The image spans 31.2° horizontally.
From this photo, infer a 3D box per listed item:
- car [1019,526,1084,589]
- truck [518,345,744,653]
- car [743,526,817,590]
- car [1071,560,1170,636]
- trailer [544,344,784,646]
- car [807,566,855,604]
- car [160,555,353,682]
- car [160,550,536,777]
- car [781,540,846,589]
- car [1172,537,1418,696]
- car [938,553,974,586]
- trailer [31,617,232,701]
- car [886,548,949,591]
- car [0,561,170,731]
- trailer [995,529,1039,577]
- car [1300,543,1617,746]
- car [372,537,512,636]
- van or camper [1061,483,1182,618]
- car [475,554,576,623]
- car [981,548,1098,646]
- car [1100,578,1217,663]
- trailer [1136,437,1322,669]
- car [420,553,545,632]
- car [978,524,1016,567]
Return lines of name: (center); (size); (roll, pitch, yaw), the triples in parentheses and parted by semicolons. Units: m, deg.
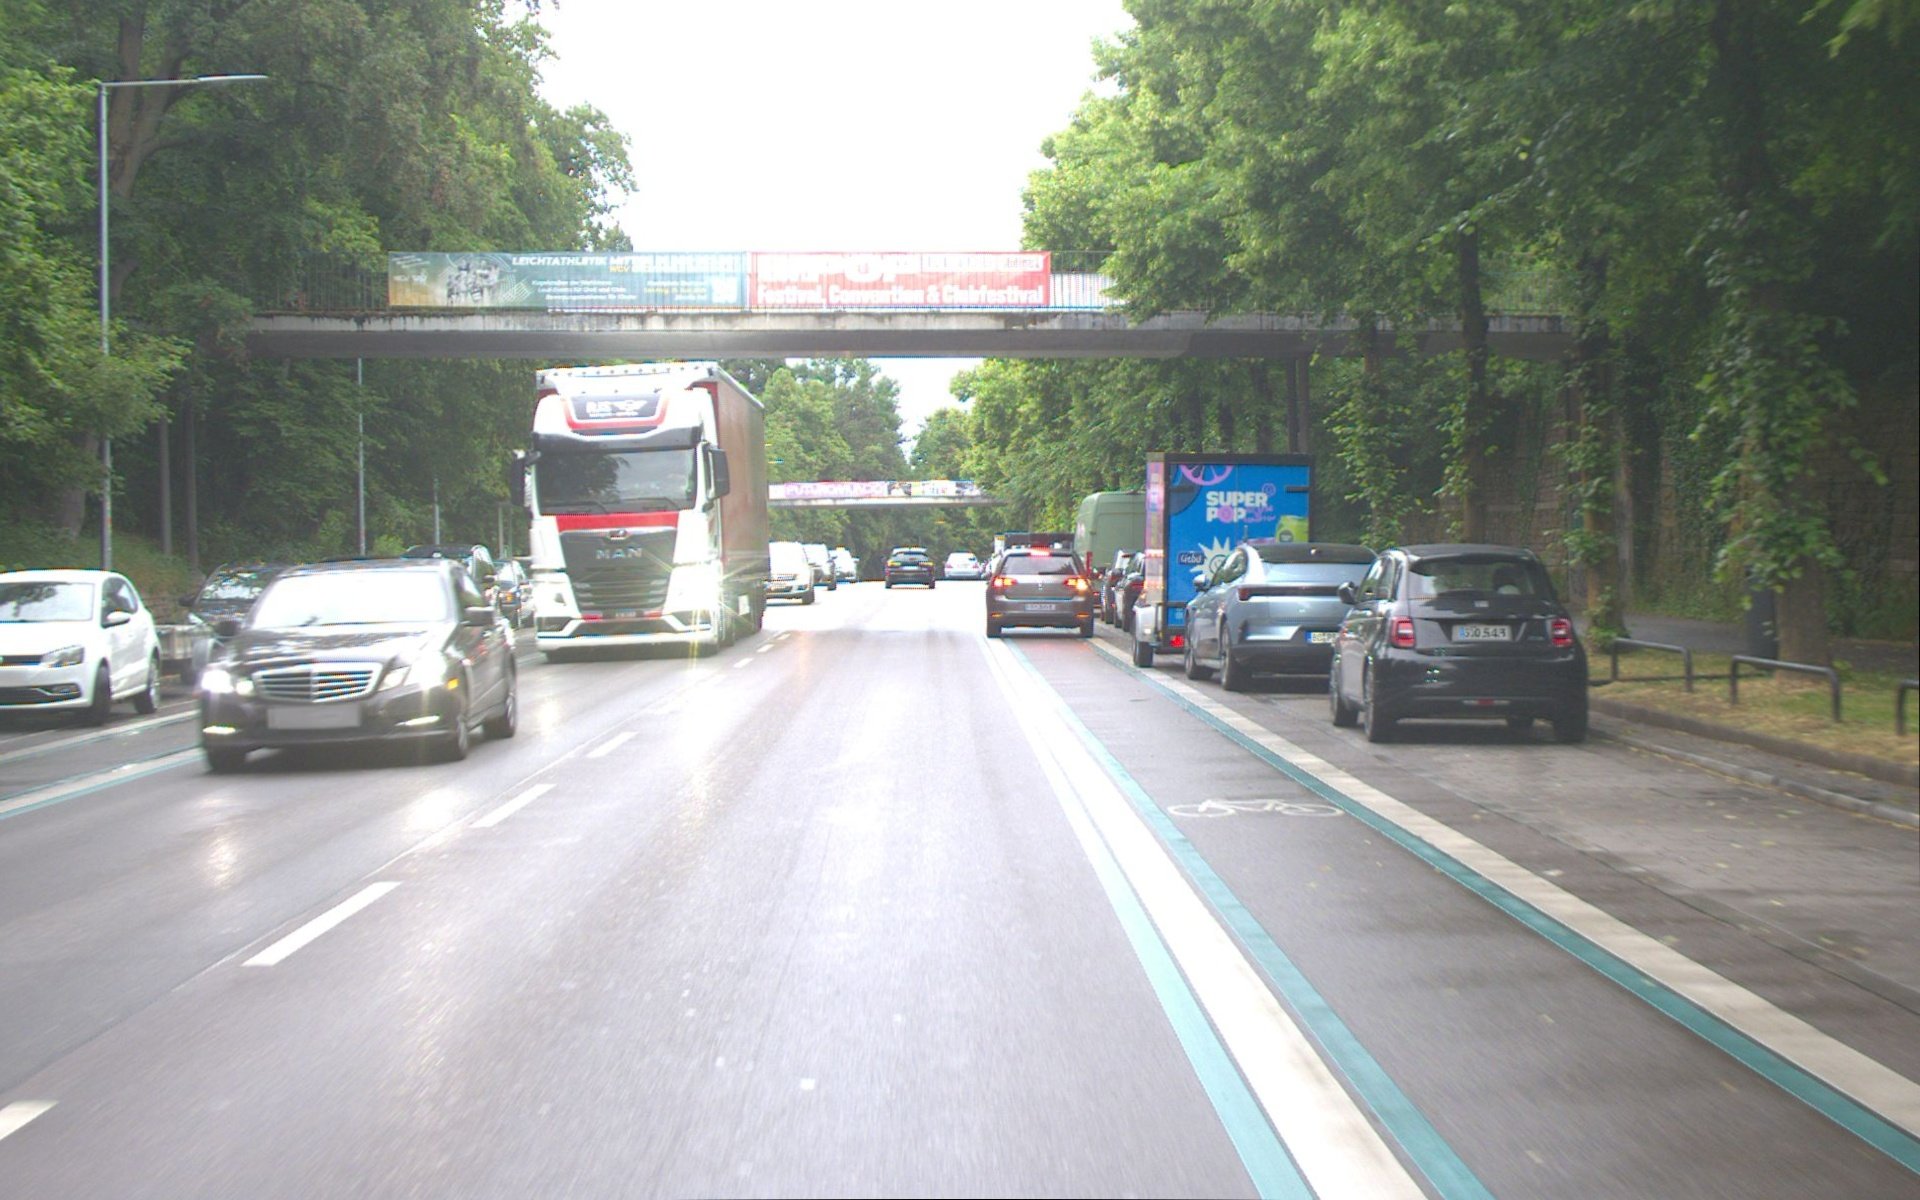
car: (2.996, -1.415, 113.308); (1.926, 2.015, 4.664); (1, 1, 0)
truck: (-4.574, -1.396, 48.604); (2.517, 4.032, 4.916); (-3, 1, 0)
car: (-4.802, -1.142, 92.293); (1.834, 1.661, 4.181); (0, 1, -1)
car: (3.077, -0.061, 66.658); (1.686, 1.411, 4.100); (0, 1, 0)
trailer: (-4.616, -1.632, 56.128); (2.687, 4.244, 12.770); (-3, 1, 0)
car: (-5.563, -0.667, 148.783); (1.921, 1.555, 4.621); (1, 1, 0)
car: (-8.903, 0.199, 43.771); (1.831, 1.472, 4.041); (-1, 1, -3)
car: (-4.459, 0.400, 25.751); (1.915, 1.451, 4.620); (-2, 1, 0)
car: (-5.141, -1.266, 120.966); (1.966, 1.622, 4.321); (-1, 1, 2)
car: (3.512, 0.122, 36.847); (1.899, 1.542, 4.756); (1, 1, -3)
car: (-0.193, -1.552, 173.599); (1.731, 1.578, 4.037); (-1, 1, -1)
trailer: (-9.156, 0.635, 38.213); (1.542, 0.816, 3.305); (0, 1, -2)
car: (-1.552, -1.103, 123.476); (2.140, 1.487, 4.499); (0, 1, -3)
car: (-8.944, 0.408, 33.313); (1.789, 1.477, 3.983); (-1, 1, -2)
trailer: (2.584, -2.141, 156.480); (1.884, 2.158, 3.808); (-1, 1, 0)
car: (3.943, 0.293, 27.897); (1.825, 1.498, 4.571); (0, 1, -1)
car: (-9.674, -0.283, 64.492); (1.990, 1.736, 4.839); (-1, 1, -1)
van or camper: (3.400, -1.070, 73.664); (2.042, 2.720, 6.901); (1, 1, -1)
car: (-9.619, -0.277, 76.374); (1.784, 1.418, 4.296); (-1, 1, -1)
car: (1.270, -0.083, 56.444); (1.818, 1.503, 4.139); (-1, 1, 0)
car: (3.476, 0.338, 60.911); (1.686, 1.411, 4.197); (0, 1, -2)
trailer: (3.294, -0.592, 42.785); (1.952, 2.749, 4.007); (0, 1, -1)
car: (-9.671, -0.181, 69.924); (1.983, 1.467, 4.898); (0, 1, -1)
car: (1.861, -2.765, 173.307); (1.889, 2.120, 4.045); (0, 1, 1)
